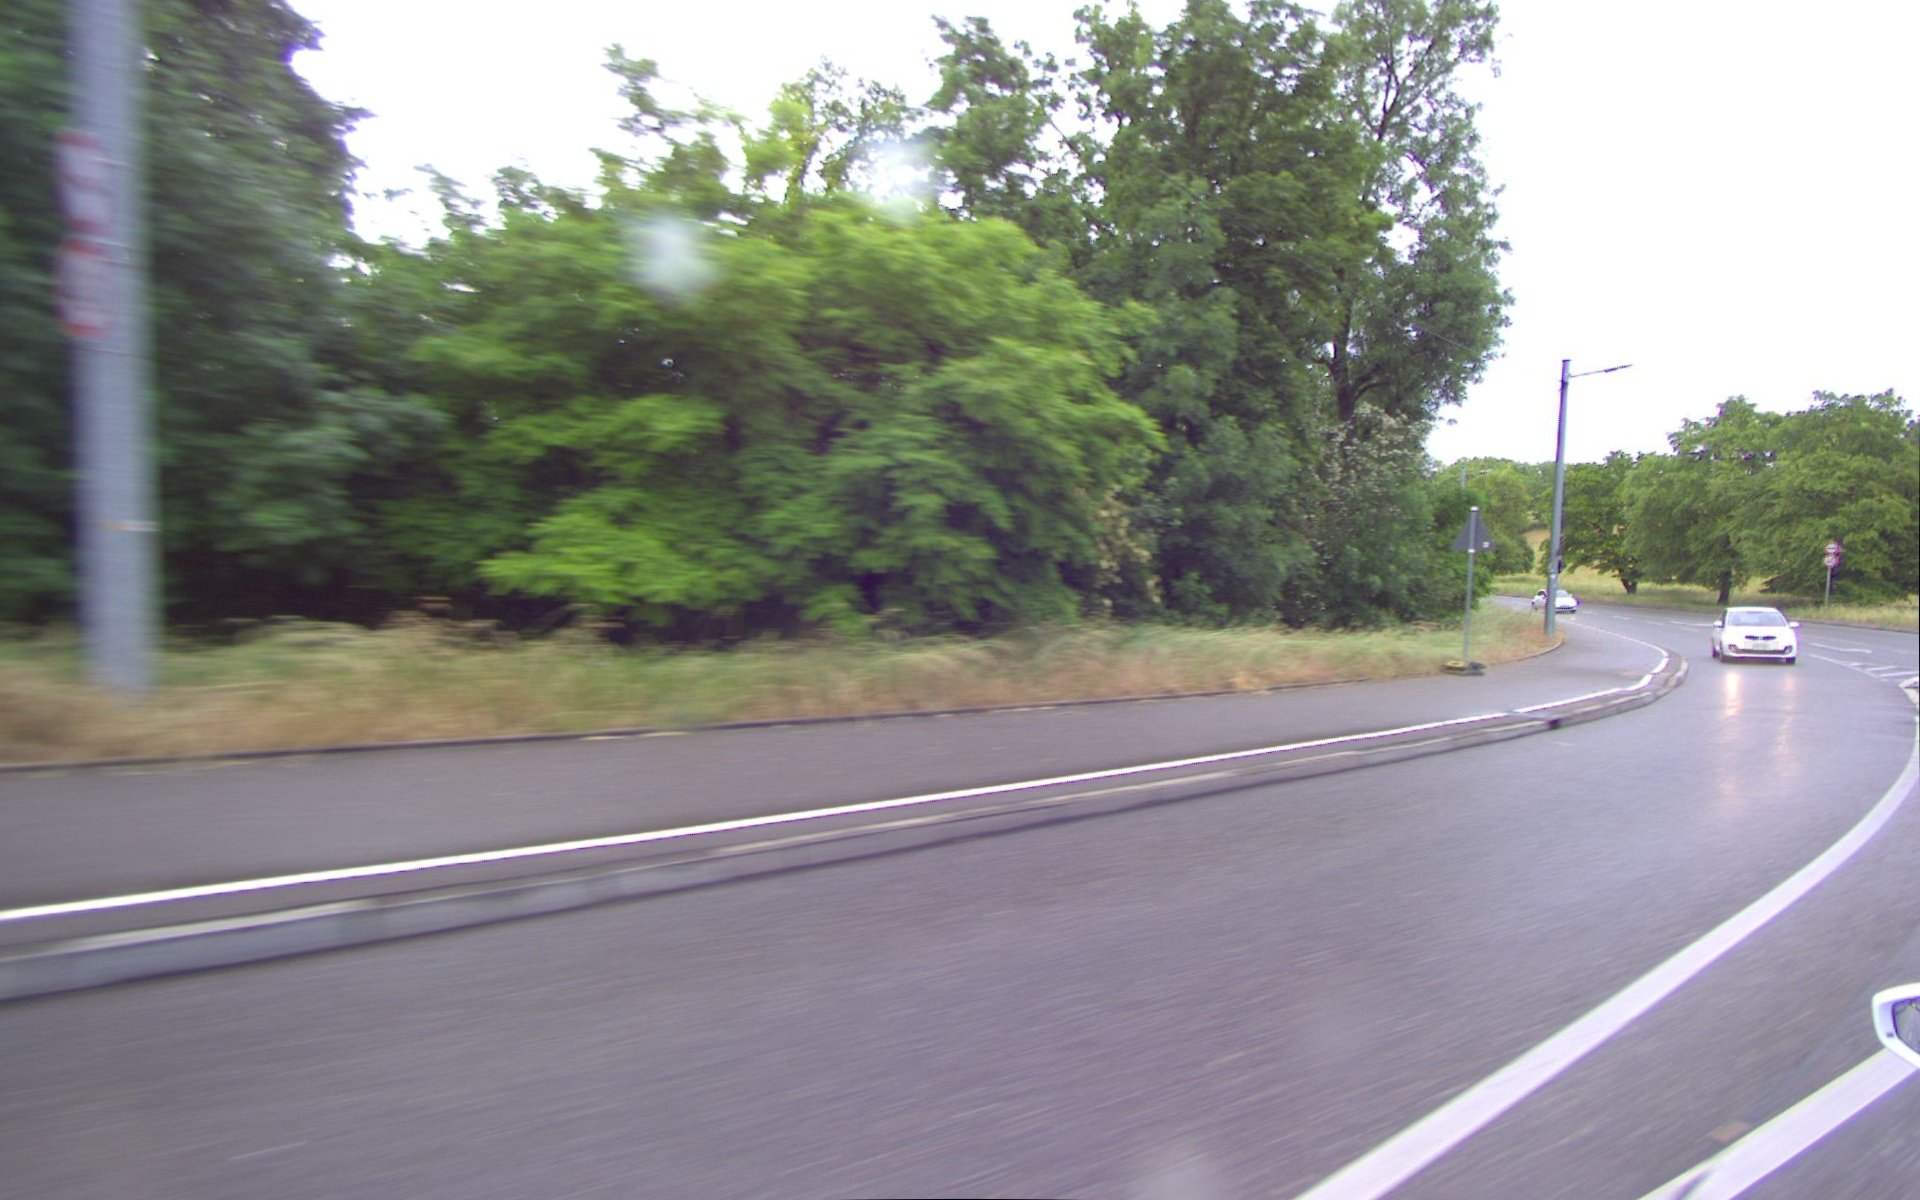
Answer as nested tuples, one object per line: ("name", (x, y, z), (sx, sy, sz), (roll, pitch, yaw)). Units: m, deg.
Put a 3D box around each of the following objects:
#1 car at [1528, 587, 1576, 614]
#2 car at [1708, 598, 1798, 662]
("car", (37.845, 0.021, 64.326), (1.784, 1.617, 4.000), (0, 2, 18))
("car", (22.232, 0.797, 28.266), (1.770, 1.506, 3.985), (-2, 1, 36))
